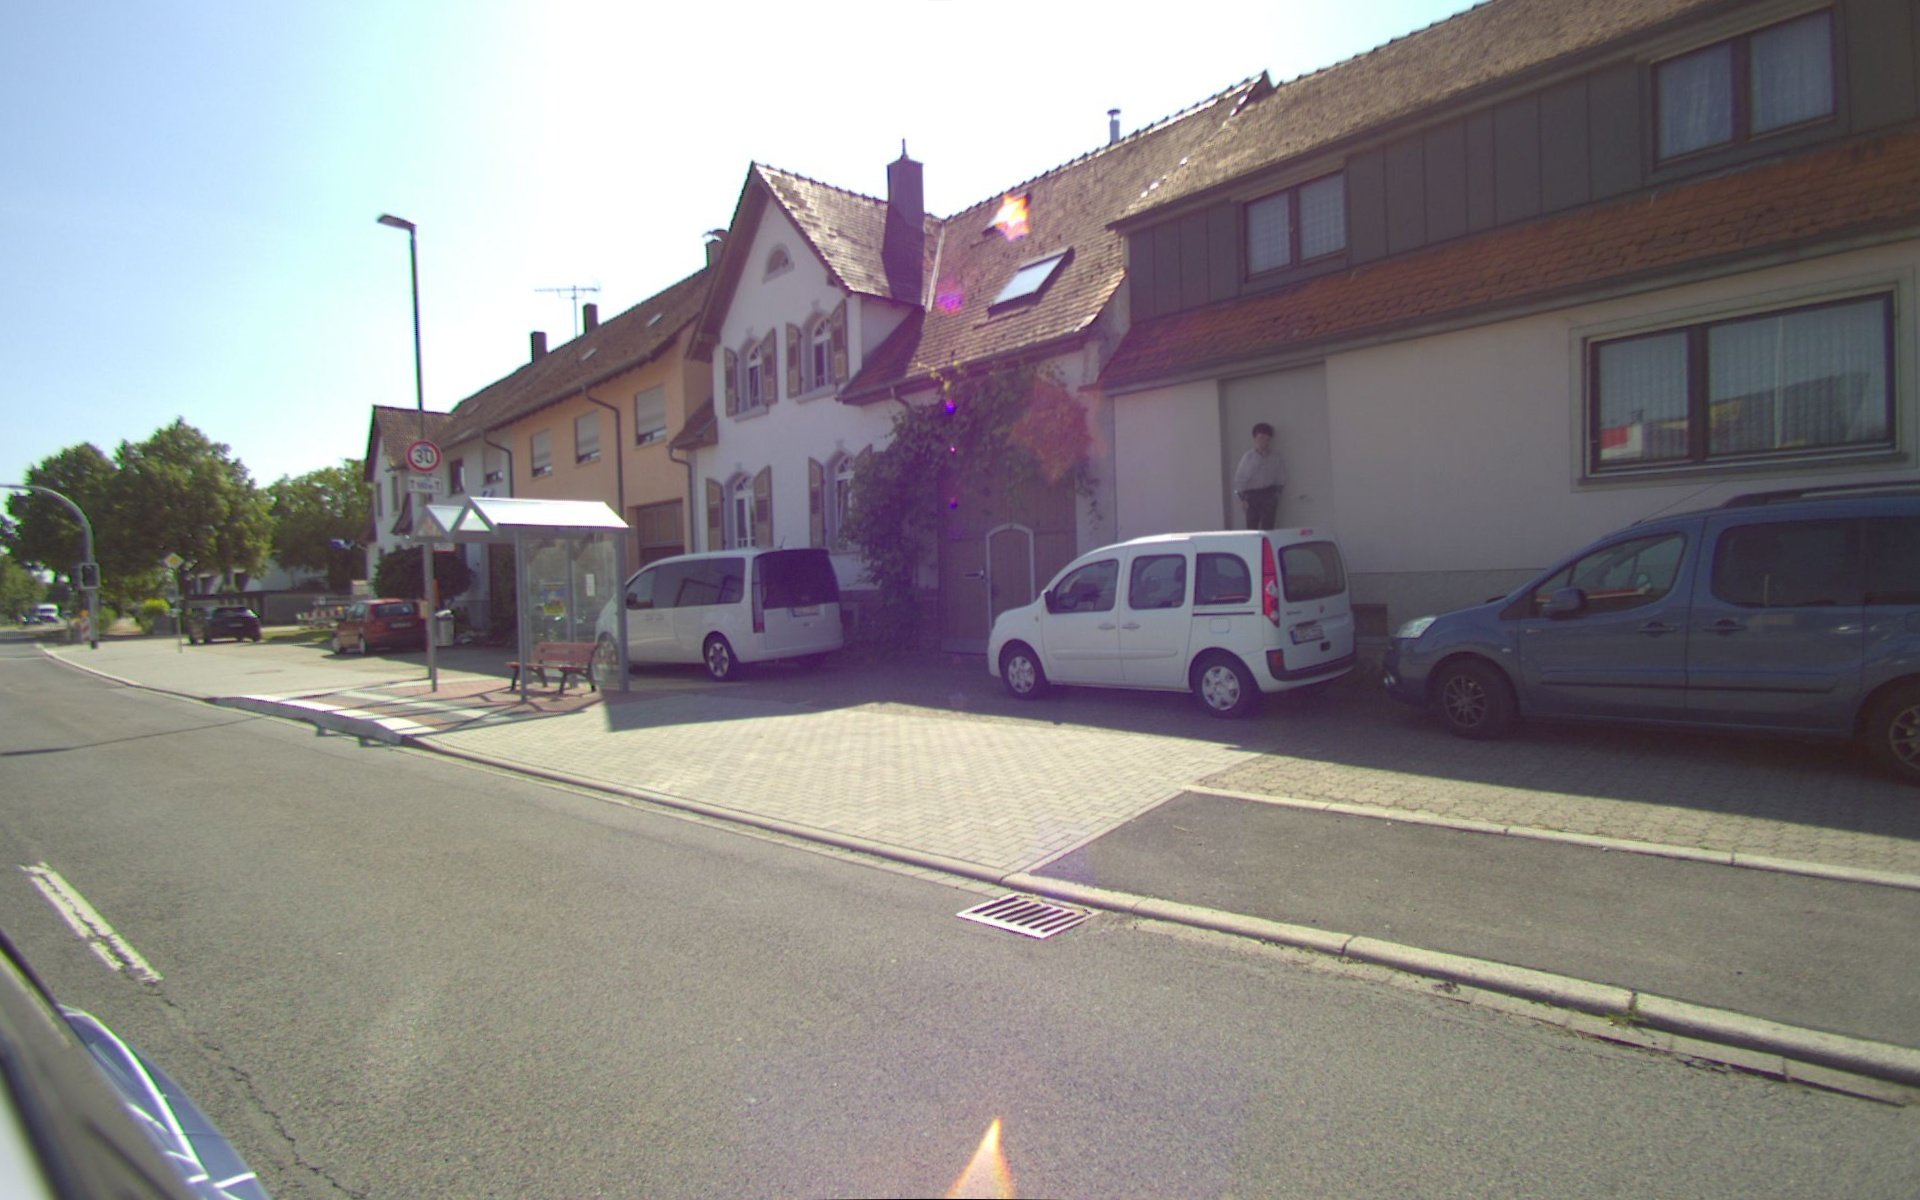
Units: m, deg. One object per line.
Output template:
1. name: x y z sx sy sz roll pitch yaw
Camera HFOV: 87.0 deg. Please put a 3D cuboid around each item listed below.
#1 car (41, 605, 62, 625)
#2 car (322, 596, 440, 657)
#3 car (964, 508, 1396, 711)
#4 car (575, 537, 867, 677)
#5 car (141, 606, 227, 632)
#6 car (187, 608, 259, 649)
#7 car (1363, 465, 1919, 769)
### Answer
1. car: -118.192 1.959 131.694 1.910 2.521 5.846 -2 1 -41
2. car: -15.892 0.726 27.713 3.915 1.464 1.696 -2 2 44
3. car: 2.231 0.035 11.131 1.944 1.787 4.282 -3 3 -42
4. car: -4.154 0.056 17.009 5.263 2.001 2.104 0 2 42
5. car: -50.614 1.249 66.061 3.934 1.516 2.005 -2 1 -13
6. car: -29.245 1.091 40.126 1.695 1.418 4.401 -1 1 -44
7. car: 5.560 0.031 7.572 1.814 1.806 4.350 -6 4 -39
